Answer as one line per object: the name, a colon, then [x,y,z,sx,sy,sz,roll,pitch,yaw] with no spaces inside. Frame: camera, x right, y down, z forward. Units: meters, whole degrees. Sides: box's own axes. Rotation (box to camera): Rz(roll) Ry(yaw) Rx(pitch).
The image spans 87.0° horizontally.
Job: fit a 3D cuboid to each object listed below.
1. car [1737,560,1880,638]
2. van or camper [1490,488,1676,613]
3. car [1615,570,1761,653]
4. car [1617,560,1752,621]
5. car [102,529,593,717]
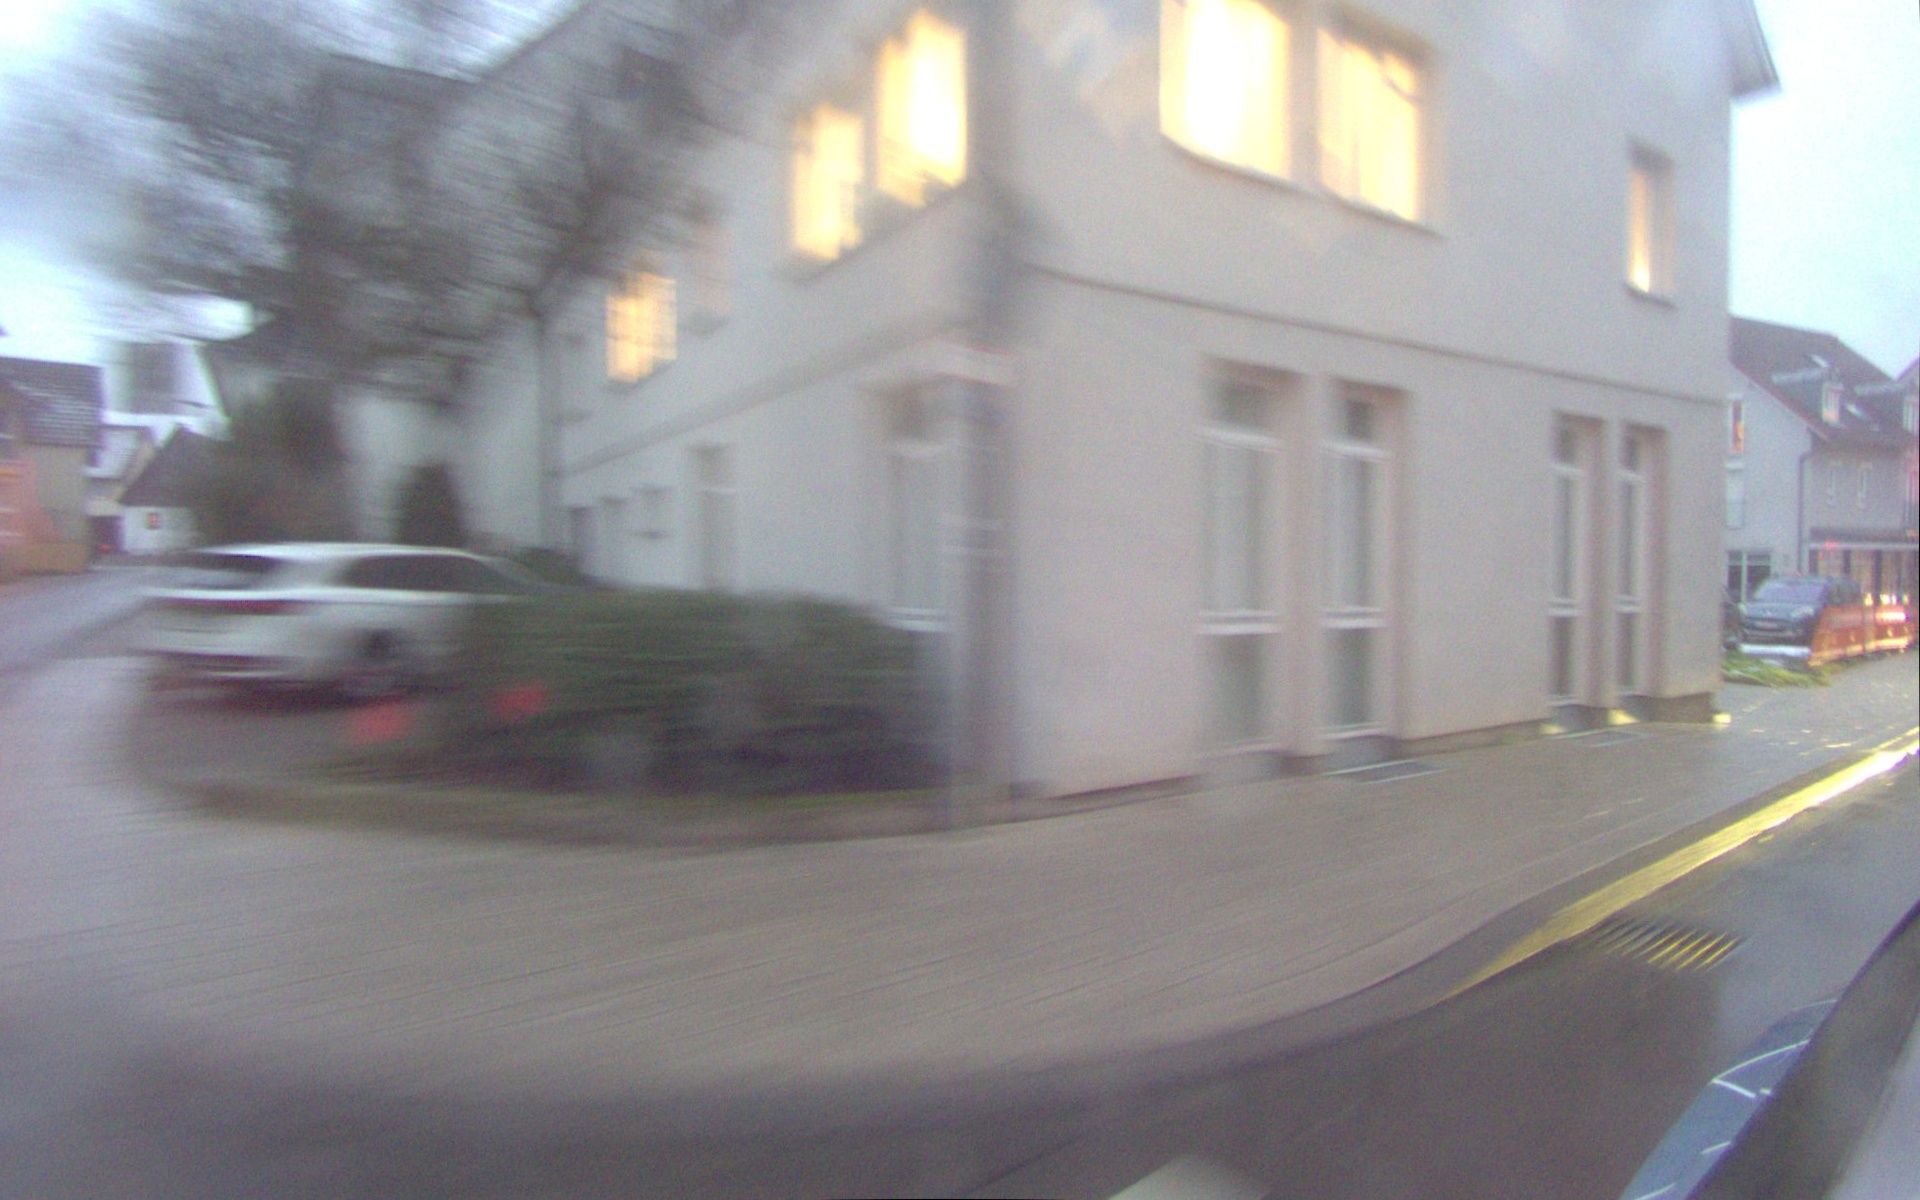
car: [22.026,-0.067,26.238,4.163,1.844,1.787,0,2,-35]
van or camper: [19.662,-1.525,31.788,6.991,3.551,2.440,0,5,-37]
car: [14.610,0.207,20.234,1.782,1.424,3.694,5,3,44]
car: [20.854,-0.296,29.081,4.163,1.560,1.788,0,5,-35]
car: [-5.897,0.111,10.419,1.772,1.486,4.199,2,2,19]
